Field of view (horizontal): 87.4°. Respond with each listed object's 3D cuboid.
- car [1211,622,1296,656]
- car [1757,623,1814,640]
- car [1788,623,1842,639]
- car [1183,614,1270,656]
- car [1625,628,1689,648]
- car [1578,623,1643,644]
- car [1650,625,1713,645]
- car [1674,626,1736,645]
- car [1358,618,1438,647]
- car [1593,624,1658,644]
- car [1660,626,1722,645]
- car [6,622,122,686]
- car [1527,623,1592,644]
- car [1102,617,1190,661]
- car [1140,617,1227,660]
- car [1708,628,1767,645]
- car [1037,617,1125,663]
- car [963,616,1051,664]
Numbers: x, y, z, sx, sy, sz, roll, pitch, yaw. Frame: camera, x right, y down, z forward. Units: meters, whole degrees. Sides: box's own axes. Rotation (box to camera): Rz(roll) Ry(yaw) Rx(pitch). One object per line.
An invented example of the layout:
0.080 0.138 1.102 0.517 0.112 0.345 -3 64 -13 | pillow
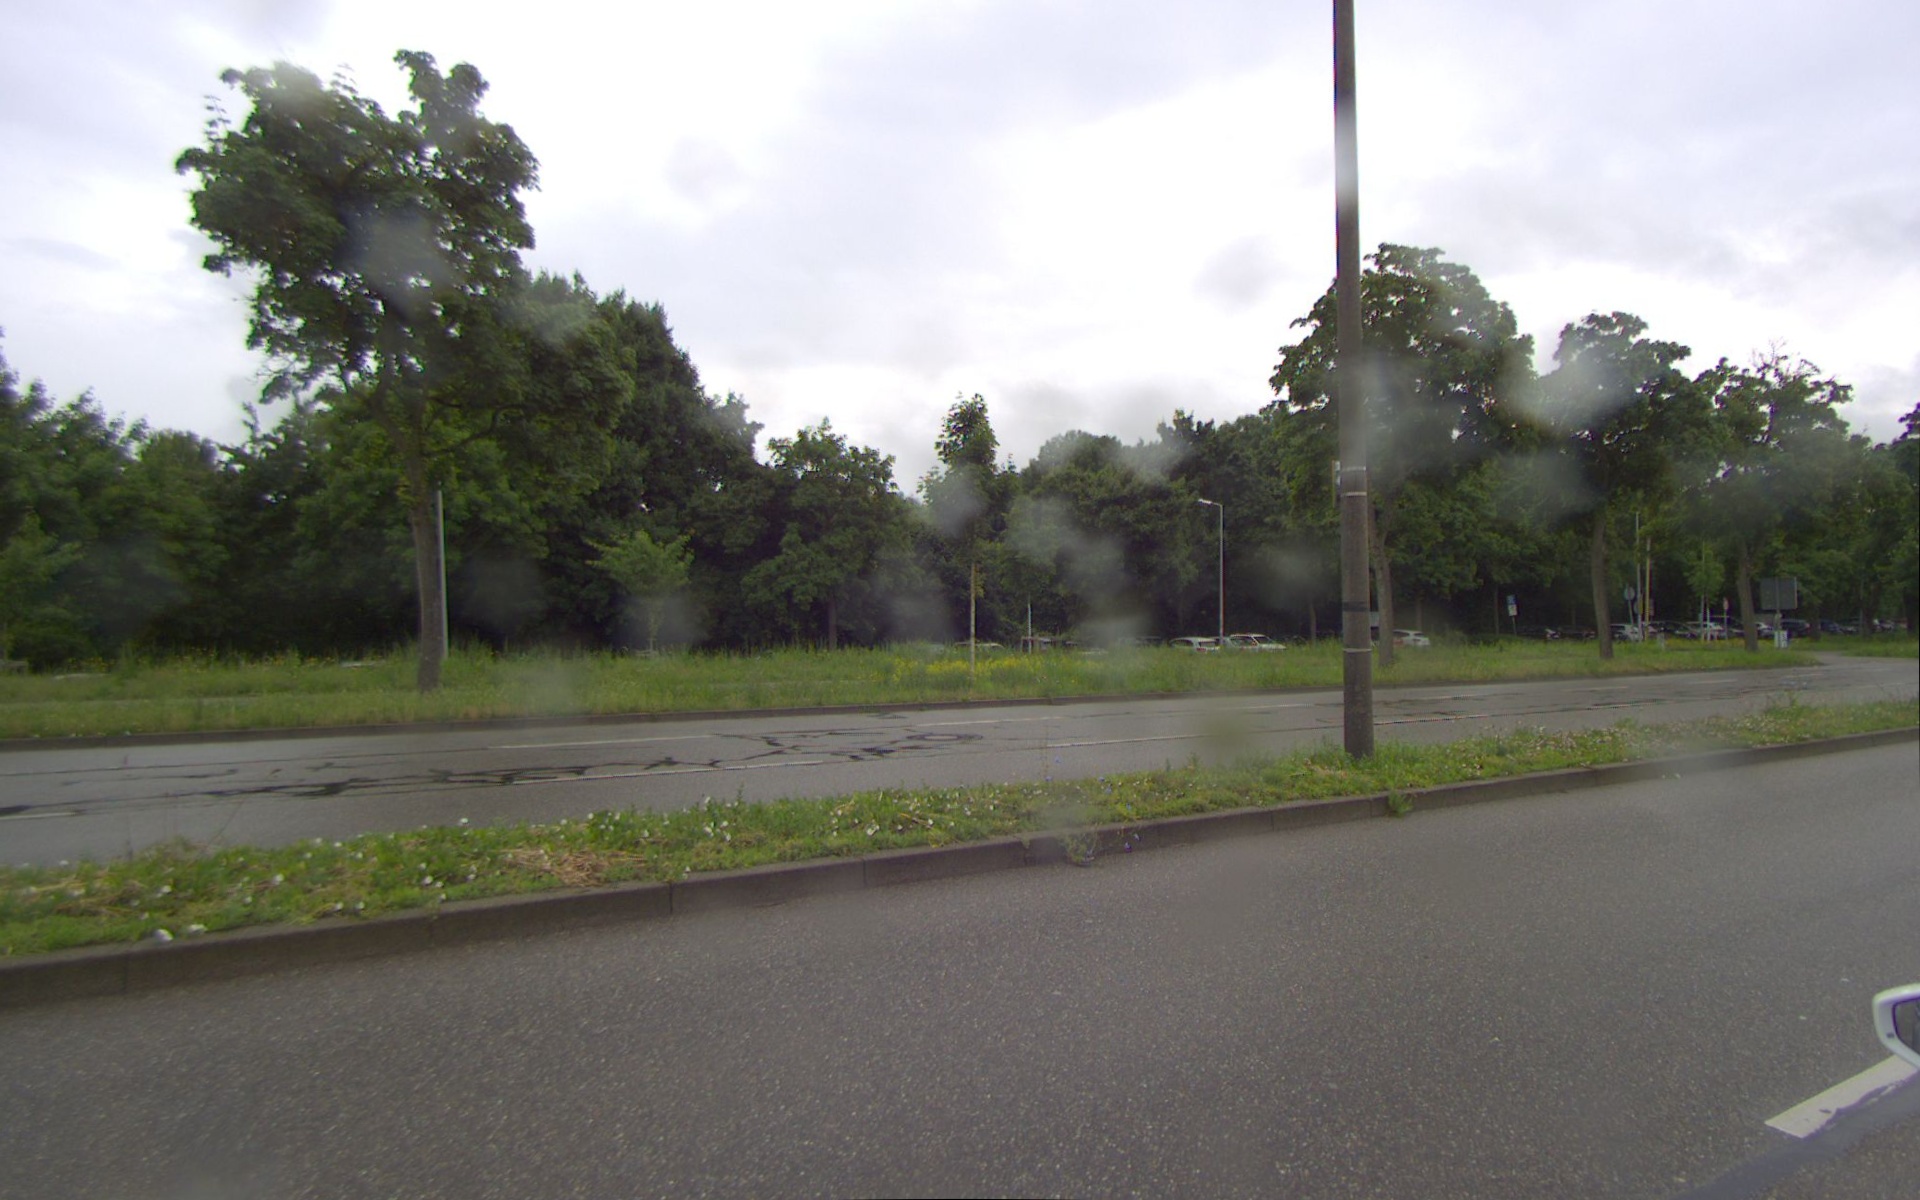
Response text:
15.351 2.013 52.676 1.980 1.639 3.961 1 -1 -35 | car
74.230 2.846 90.372 1.513 1.471 3.801 1 -1 -42 | car
80.048 2.901 94.051 1.515 1.471 3.797 1 -1 -45 | car
13.547 1.761 51.263 1.980 2.040 3.961 1 -1 -35 | car
54.523 2.942 78.648 1.509 1.471 3.811 1 -1 -35 | car
48.355 2.471 74.725 1.509 1.471 3.811 1 -1 -35 | car
57.344 2.767 79.867 1.509 1.471 3.811 1 -1 -35 | car
61.386 2.920 82.794 1.509 1.471 3.811 1 -1 -35 | car
25.707 1.902 59.062 1.892 1.661 3.961 1 -1 -35 | car
50.513 2.546 76.280 1.509 1.471 3.811 1 -1 -35 | car
59.218 2.834 81.397 1.509 1.471 3.811 1 -1 -35 | car
-25.600 1.476 28.852 1.980 1.707 3.961 1 -1 -35 | car
42.060 2.332 70.530 1.473 1.445 3.710 1 -1 -35 | car
8.967 1.850 48.691 1.980 2.040 3.961 1 -1 -35 | car
11.126 1.897 50.209 1.980 2.040 3.961 1 -1 -35 | car
67.354 3.142 87.056 1.509 1.471 3.811 1 -1 -35 | car
5.621 1.823 47.096 1.980 2.040 3.961 1 -1 -35 | car
2.040 1.744 44.706 1.980 2.040 3.961 1 -1 -35 | car
